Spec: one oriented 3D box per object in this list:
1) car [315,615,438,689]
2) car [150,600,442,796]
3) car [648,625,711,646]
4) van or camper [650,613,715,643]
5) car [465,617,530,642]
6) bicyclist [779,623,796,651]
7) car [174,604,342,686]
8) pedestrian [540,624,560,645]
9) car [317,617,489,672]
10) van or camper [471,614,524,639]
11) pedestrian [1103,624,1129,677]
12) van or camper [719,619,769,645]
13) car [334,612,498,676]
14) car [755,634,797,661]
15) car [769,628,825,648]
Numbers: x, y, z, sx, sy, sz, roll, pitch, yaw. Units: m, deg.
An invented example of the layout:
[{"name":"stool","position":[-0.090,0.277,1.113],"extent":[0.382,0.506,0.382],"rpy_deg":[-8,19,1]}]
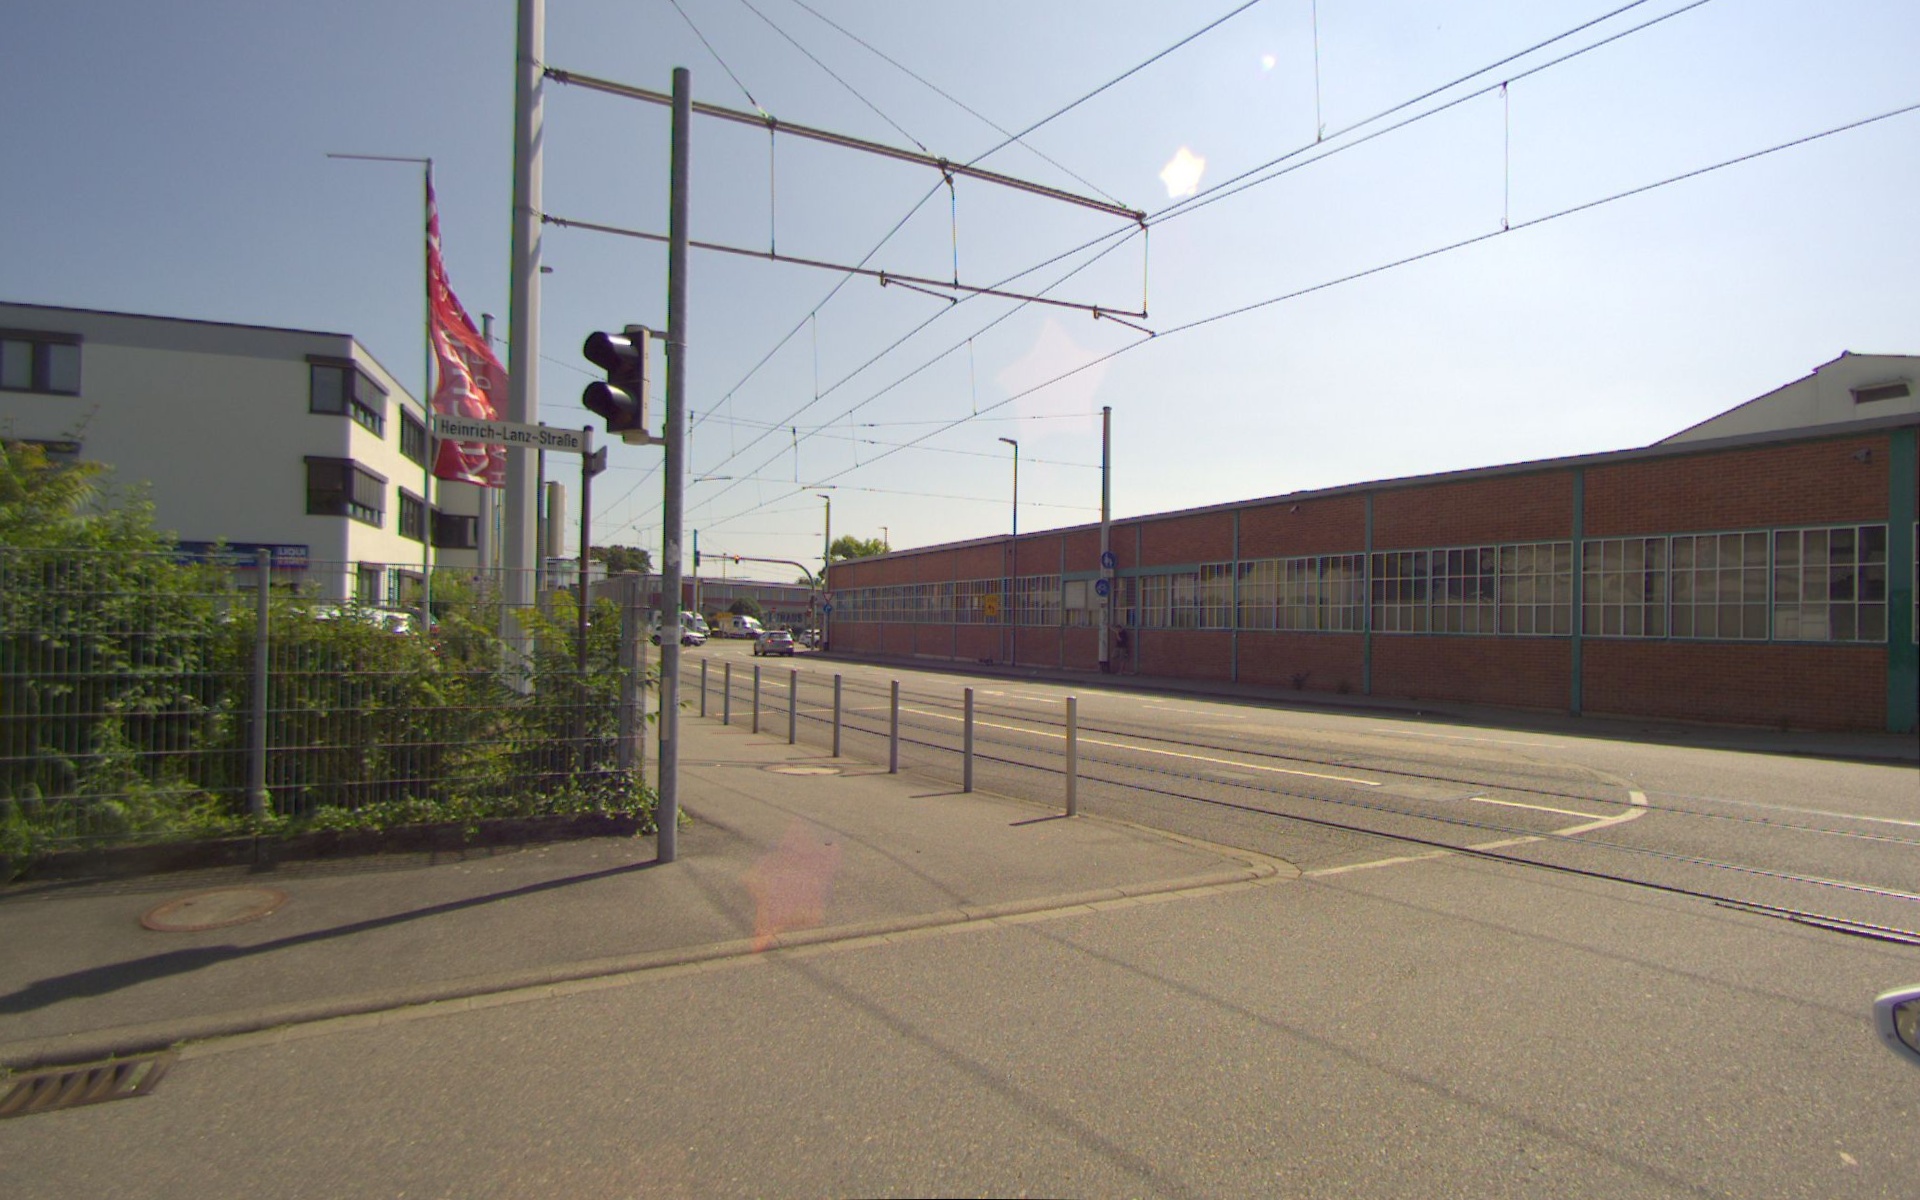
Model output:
[{"name":"car","position":[-13.477,1.163,23.434],"extent":[1.714,1.562,3.821],"rpy_deg":[1,-2,-19]},{"name":"car","position":[-6.048,0.825,9.630],"extent":[1.690,1.452,3.931],"rpy_deg":[2,-3,-25]},{"name":"car","position":[-21.895,2.769,78.368],"extent":[4.307,1.599,2.001],"rpy_deg":[0,-2,17]},{"name":"van or camper","position":[-30.491,3.069,110.454],"extent":[6.852,2.970,2.353],"rpy_deg":[2,0,23]},{"name":"car","position":[-32.164,2.066,70.000],"extent":[3.942,1.539,1.989],"rpy_deg":[2,0,-22]},{"name":"bicyclist","position":[-10.953,2.370,63.746],"extent":[0.777,1.744,1.141],"rpy_deg":[2,-2,-21]},{"name":"car","position":[-14.942,0.940,21.642],"extent":[1.827,1.588,3.920],"rpy_deg":[1,-2,-18]},{"name":"pedestrian","position":[-29.384,2.466,71.997],"extent":[1.122,1.474,0.829],"rpy_deg":[2,-2,-35]},{"name":"car","position":[-14.739,1.189,26.813],"extent":[3.781,1.388,1.739],"rpy_deg":[2,-2,-23]},{"name":"van or camper","position":[-44.536,2.571,96.628],"extent":[5.717,2.326,2.031],"rpy_deg":[0,-2,36]},{"name":"pedestrian","position":[5.368,1.739,34.516],"extent":[0.675,1.788,0.447],"rpy_deg":[2,1,-19]},{"name":"van or camper","position":[-24.524,3.628,114.123],"extent":[5.289,2.473,2.286],"rpy_deg":[4,1,29]},{"name":"car","position":[-15.464,1.245,28.816],"extent":[3.944,1.728,1.989],"rpy_deg":[1,-2,-24]},{"name":"car","position":[-10.859,2.783,59.074],"extent":[1.726,1.478,3.981],"rpy_deg":[1,-2,-21]},{"name":"car","position":[-13.023,3.037,80.038],"extent":[4.155,1.528,1.993],"rpy_deg":[1,-2,-17]}]
